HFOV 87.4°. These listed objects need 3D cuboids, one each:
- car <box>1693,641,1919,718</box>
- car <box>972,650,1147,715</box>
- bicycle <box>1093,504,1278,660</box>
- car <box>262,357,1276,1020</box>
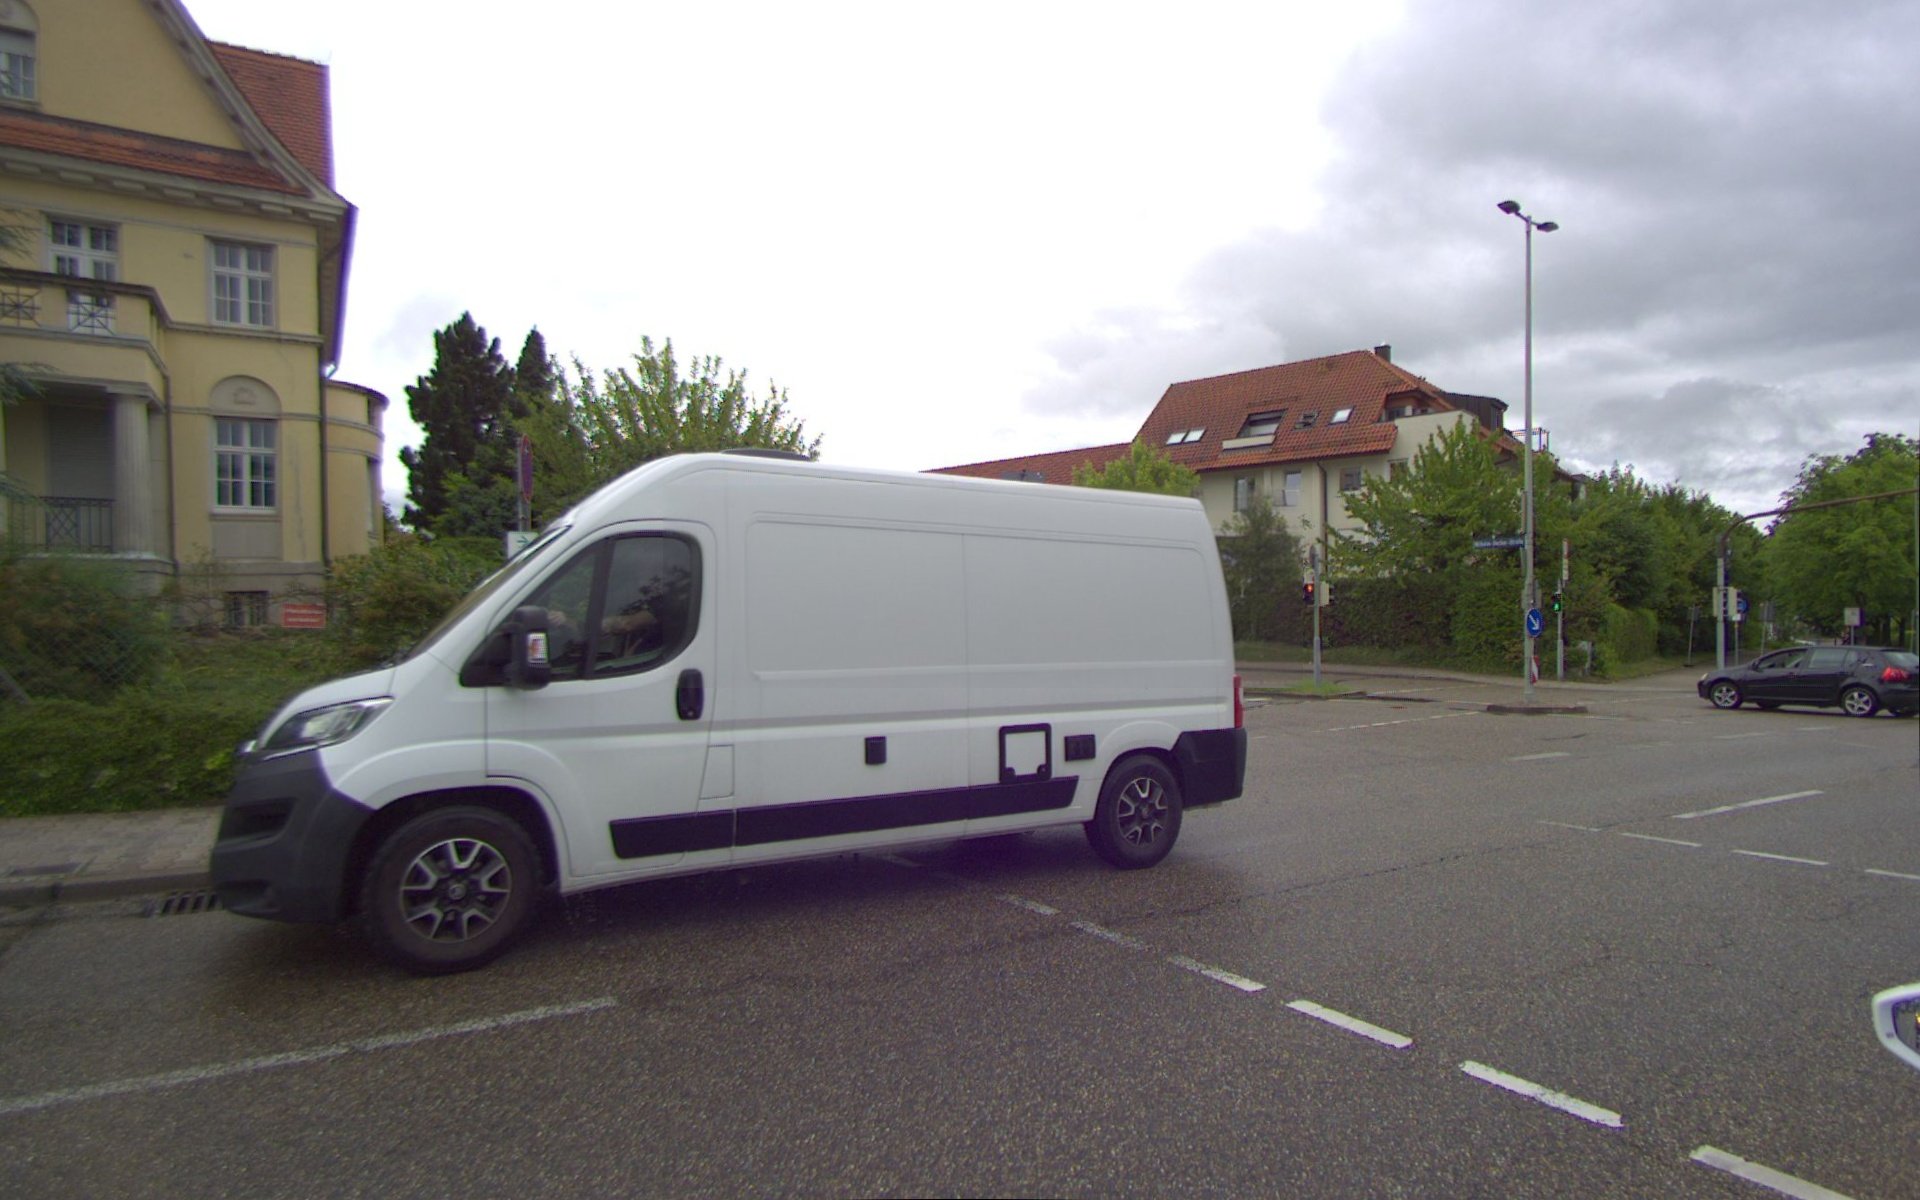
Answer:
[{"bbox_3d":[18.585,1.653,21.851,1.740,1.498,3.982,1,-2,-21],"label":"car"},{"bbox_3d":[2.285,1.939,24.259,1.759,1.411,4.391,2,-4,-36],"label":"car"},{"bbox_3d":[1.776,-0.095,8.152,0.462,1.141,1.628,0,-2,-31],"label":"bicycle"},{"bbox_3d":[-0.837,0.409,6.375,5.709,2.561,2.285,1,-1,-32],"label":"car"}]
